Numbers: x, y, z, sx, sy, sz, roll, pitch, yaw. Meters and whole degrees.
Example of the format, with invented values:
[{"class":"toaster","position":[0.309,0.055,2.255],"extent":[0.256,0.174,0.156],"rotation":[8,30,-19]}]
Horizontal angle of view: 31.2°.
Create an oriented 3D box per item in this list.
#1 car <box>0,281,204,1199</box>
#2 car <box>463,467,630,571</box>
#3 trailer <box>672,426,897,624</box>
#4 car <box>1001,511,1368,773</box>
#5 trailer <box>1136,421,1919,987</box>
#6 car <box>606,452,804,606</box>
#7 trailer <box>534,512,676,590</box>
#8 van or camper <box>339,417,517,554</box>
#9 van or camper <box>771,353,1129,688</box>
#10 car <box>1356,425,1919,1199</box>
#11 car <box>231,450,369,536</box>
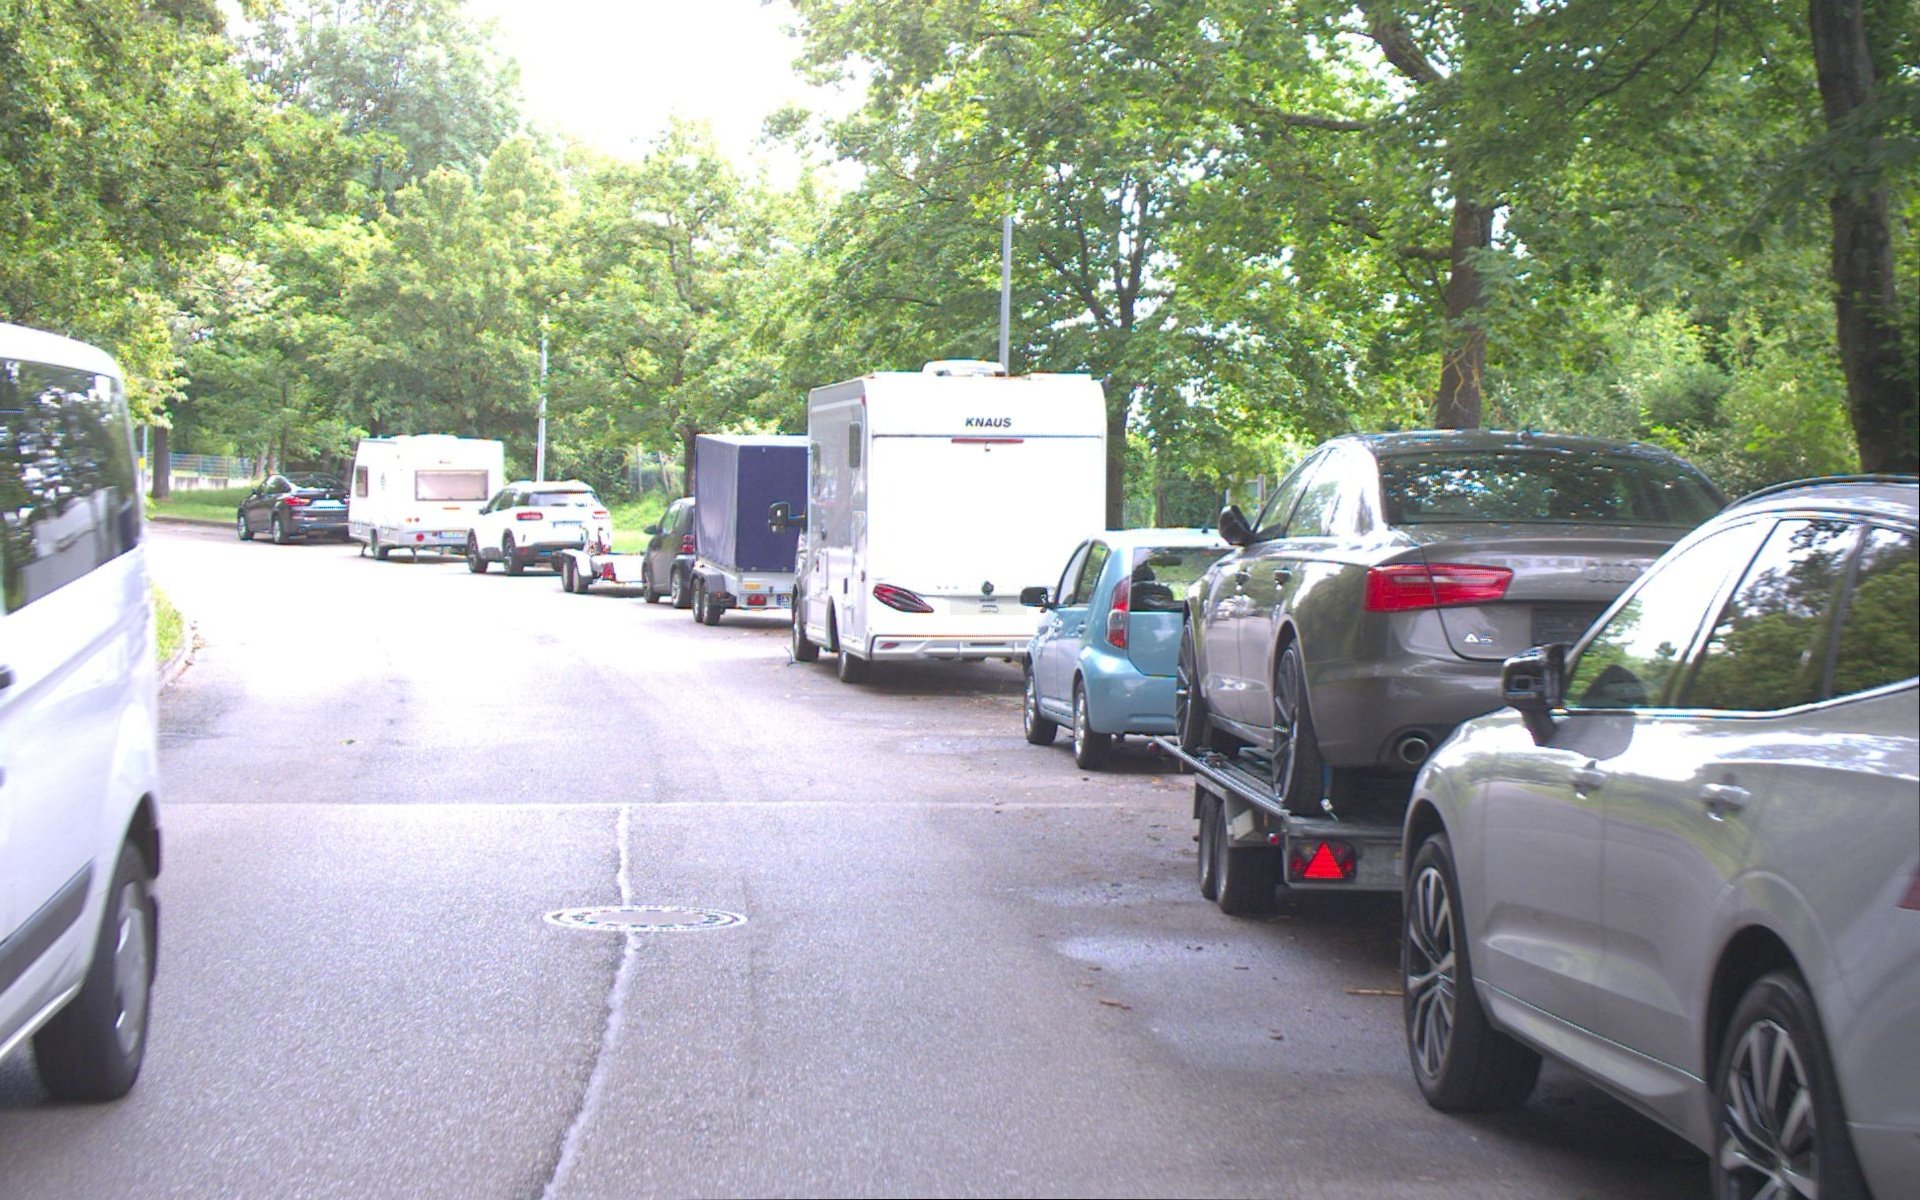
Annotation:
[{"class":"car","position":[-2.925,0.320,7.180],"extent":[1.947,1.977,4.503],"rotation":[2,1,-4]},{"class":"car","position":[-7.526,-1.492,62.285],"extent":[2.034,1.797,4.084],"rotation":[0,2,-21]},{"class":"trailer","position":[-2.312,-0.974,44.259],"extent":[1.993,2.390,4.002],"rotation":[1,1,-16]},{"class":"car","position":[1.407,0.211,23.029],"extent":[1.799,1.556,3.836],"rotation":[1,2,-6]},{"class":"trailer","position":[1.987,0.255,13.665],"extent":[1.979,1.805,5.150],"rotation":[1,2,-3]},{"class":"car","position":[-3.710,-1.069,49.401],"extent":[1.993,2.019,4.002],"rotation":[-2,4,-17]},{"class":"trailer","position":[-5.525,-0.783,53.186],"extent":[1.651,1.083,4.002],"rotation":[-1,2,-13]},{"class":"van or camper","position":[-10.929,-2.357,70.334],"extent":[2.526,2.688,4.577],"rotation":[-1,2,-23]},{"class":"van or camper","position":[-0.266,-0.766,33.425],"extent":[2.481,2.866,6.891],"rotation":[1,1,-8]},{"class":"car","position":[2.220,0.571,7.510],"extent":[1.792,1.664,4.502],"rotation":[1,0,-5]},{"class":"car","position":[-15.313,-2.510,79.632],"extent":[1.993,1.863,4.001],"rotation":[-2,4,-29]}]
